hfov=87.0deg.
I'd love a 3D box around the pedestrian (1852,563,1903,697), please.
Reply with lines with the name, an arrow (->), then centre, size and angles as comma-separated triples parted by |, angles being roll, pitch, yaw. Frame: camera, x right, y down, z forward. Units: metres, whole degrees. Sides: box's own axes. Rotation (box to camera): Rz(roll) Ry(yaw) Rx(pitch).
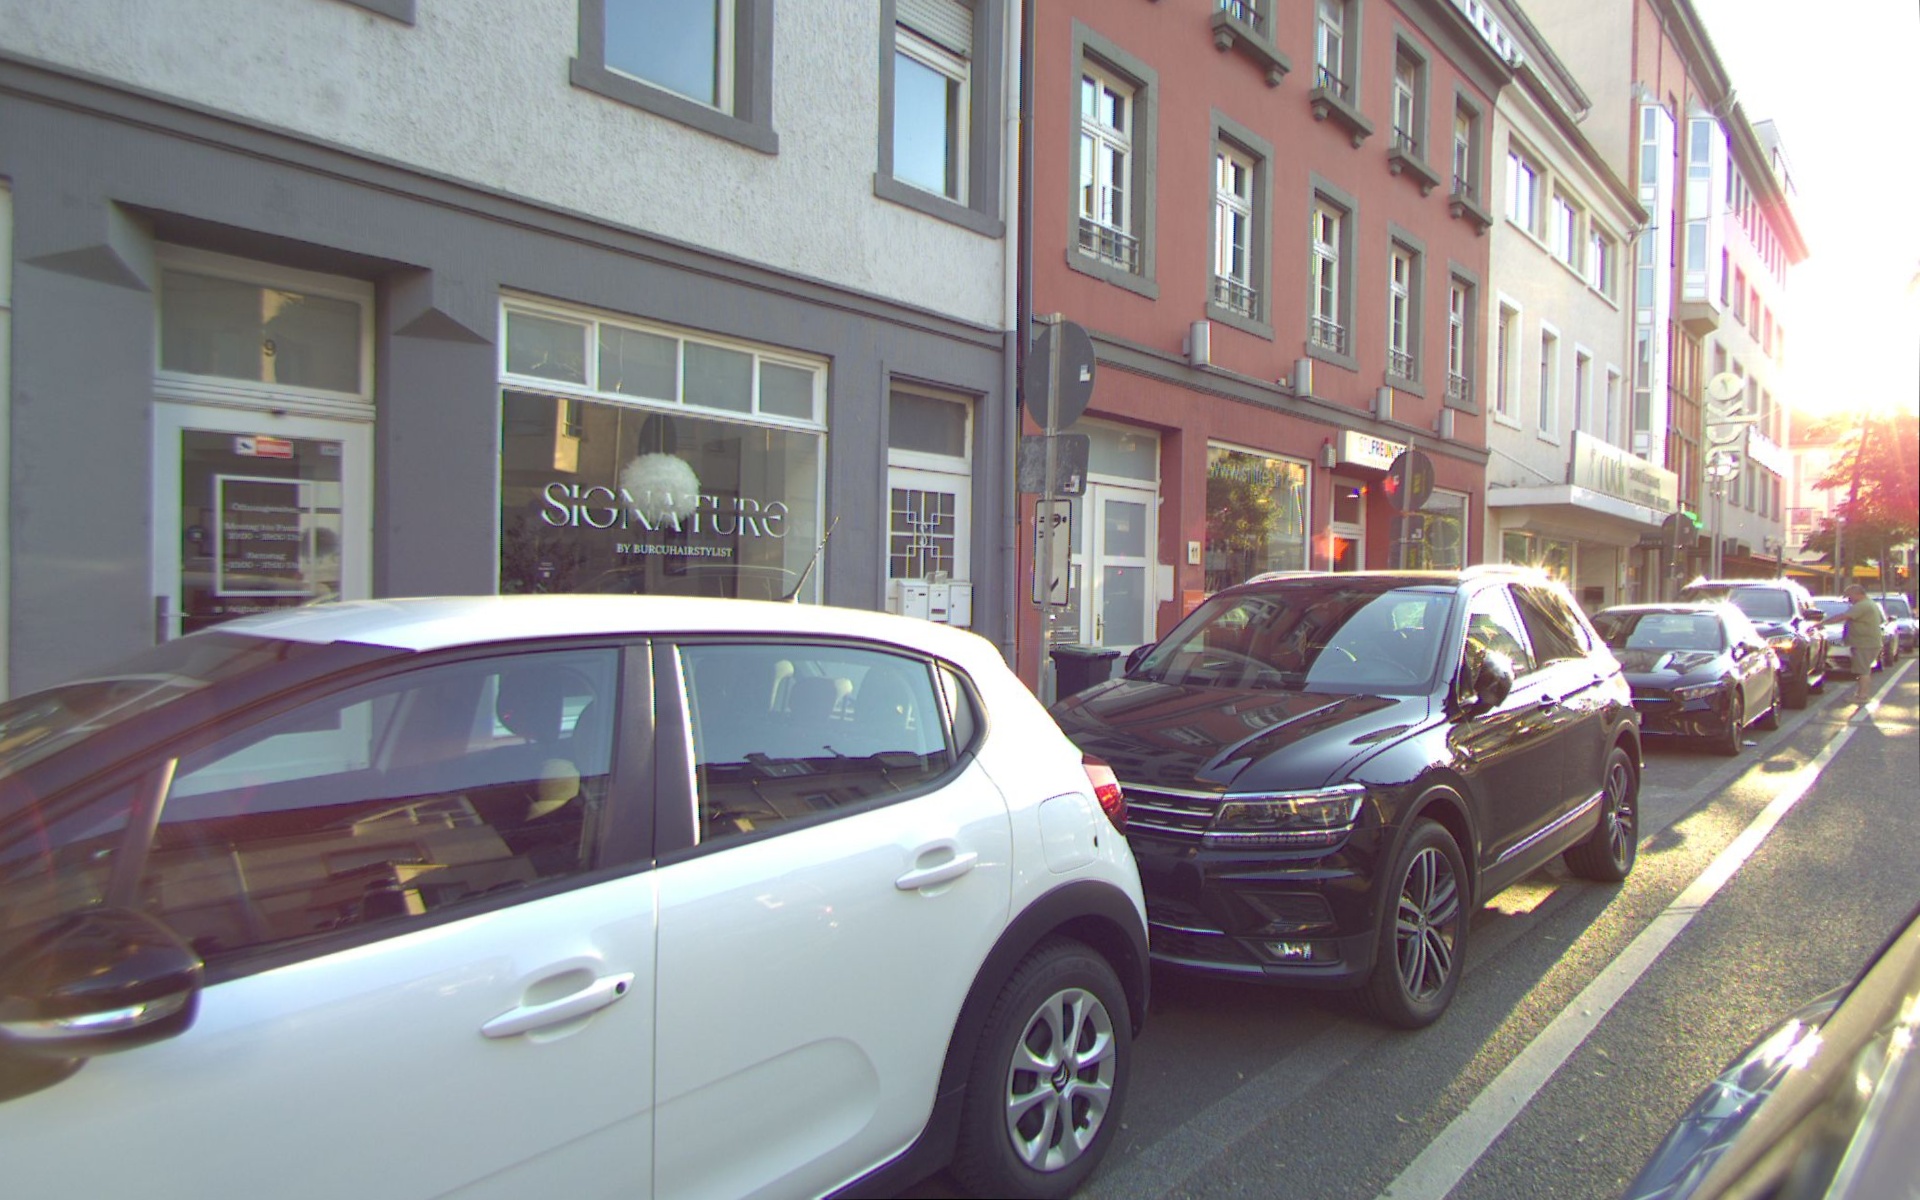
pedestrian -> 13.259, 0.416, 14.634 | 0.483, 1.881, 0.532 | 1, 1, 38

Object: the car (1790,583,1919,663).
car -> 21.329, 0.475, 24.064 | 4.407, 1.675, 1.995 | -1, 2, -45

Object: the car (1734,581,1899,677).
car -> 16.974, 0.485, 19.986 | 4.550, 1.676, 1.996 | 0, 1, -43

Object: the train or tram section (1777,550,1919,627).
train or tram section -> 49.074, -0.616, 52.152 | 10.297, 3.858, 3.130 | 0, 0, 17

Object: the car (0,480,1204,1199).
car -> -1.309, 0.659, 2.030 | 3.869, 1.593, 1.663 | 0, 0, -43

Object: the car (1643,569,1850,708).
car -> 12.282, 0.466, 15.642 | 1.994, 1.799, 5.234 | 1, 1, 44

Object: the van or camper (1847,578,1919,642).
van or camper -> 28.192, 0.256, 30.725 | 1.786, 1.796, 4.491 | 2, 2, 41

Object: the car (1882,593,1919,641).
car -> 32.609, 0.562, 34.287 | 3.722, 1.521, 1.692 | 0, 2, -42

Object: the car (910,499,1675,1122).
car -> 1.979, 0.569, 4.999 | 4.387, 1.720, 1.795 | -1, 0, -45

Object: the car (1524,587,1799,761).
car -> 7.787, 0.642, 11.056 | 4.339, 1.507, 1.685 | -1, 0, -45
